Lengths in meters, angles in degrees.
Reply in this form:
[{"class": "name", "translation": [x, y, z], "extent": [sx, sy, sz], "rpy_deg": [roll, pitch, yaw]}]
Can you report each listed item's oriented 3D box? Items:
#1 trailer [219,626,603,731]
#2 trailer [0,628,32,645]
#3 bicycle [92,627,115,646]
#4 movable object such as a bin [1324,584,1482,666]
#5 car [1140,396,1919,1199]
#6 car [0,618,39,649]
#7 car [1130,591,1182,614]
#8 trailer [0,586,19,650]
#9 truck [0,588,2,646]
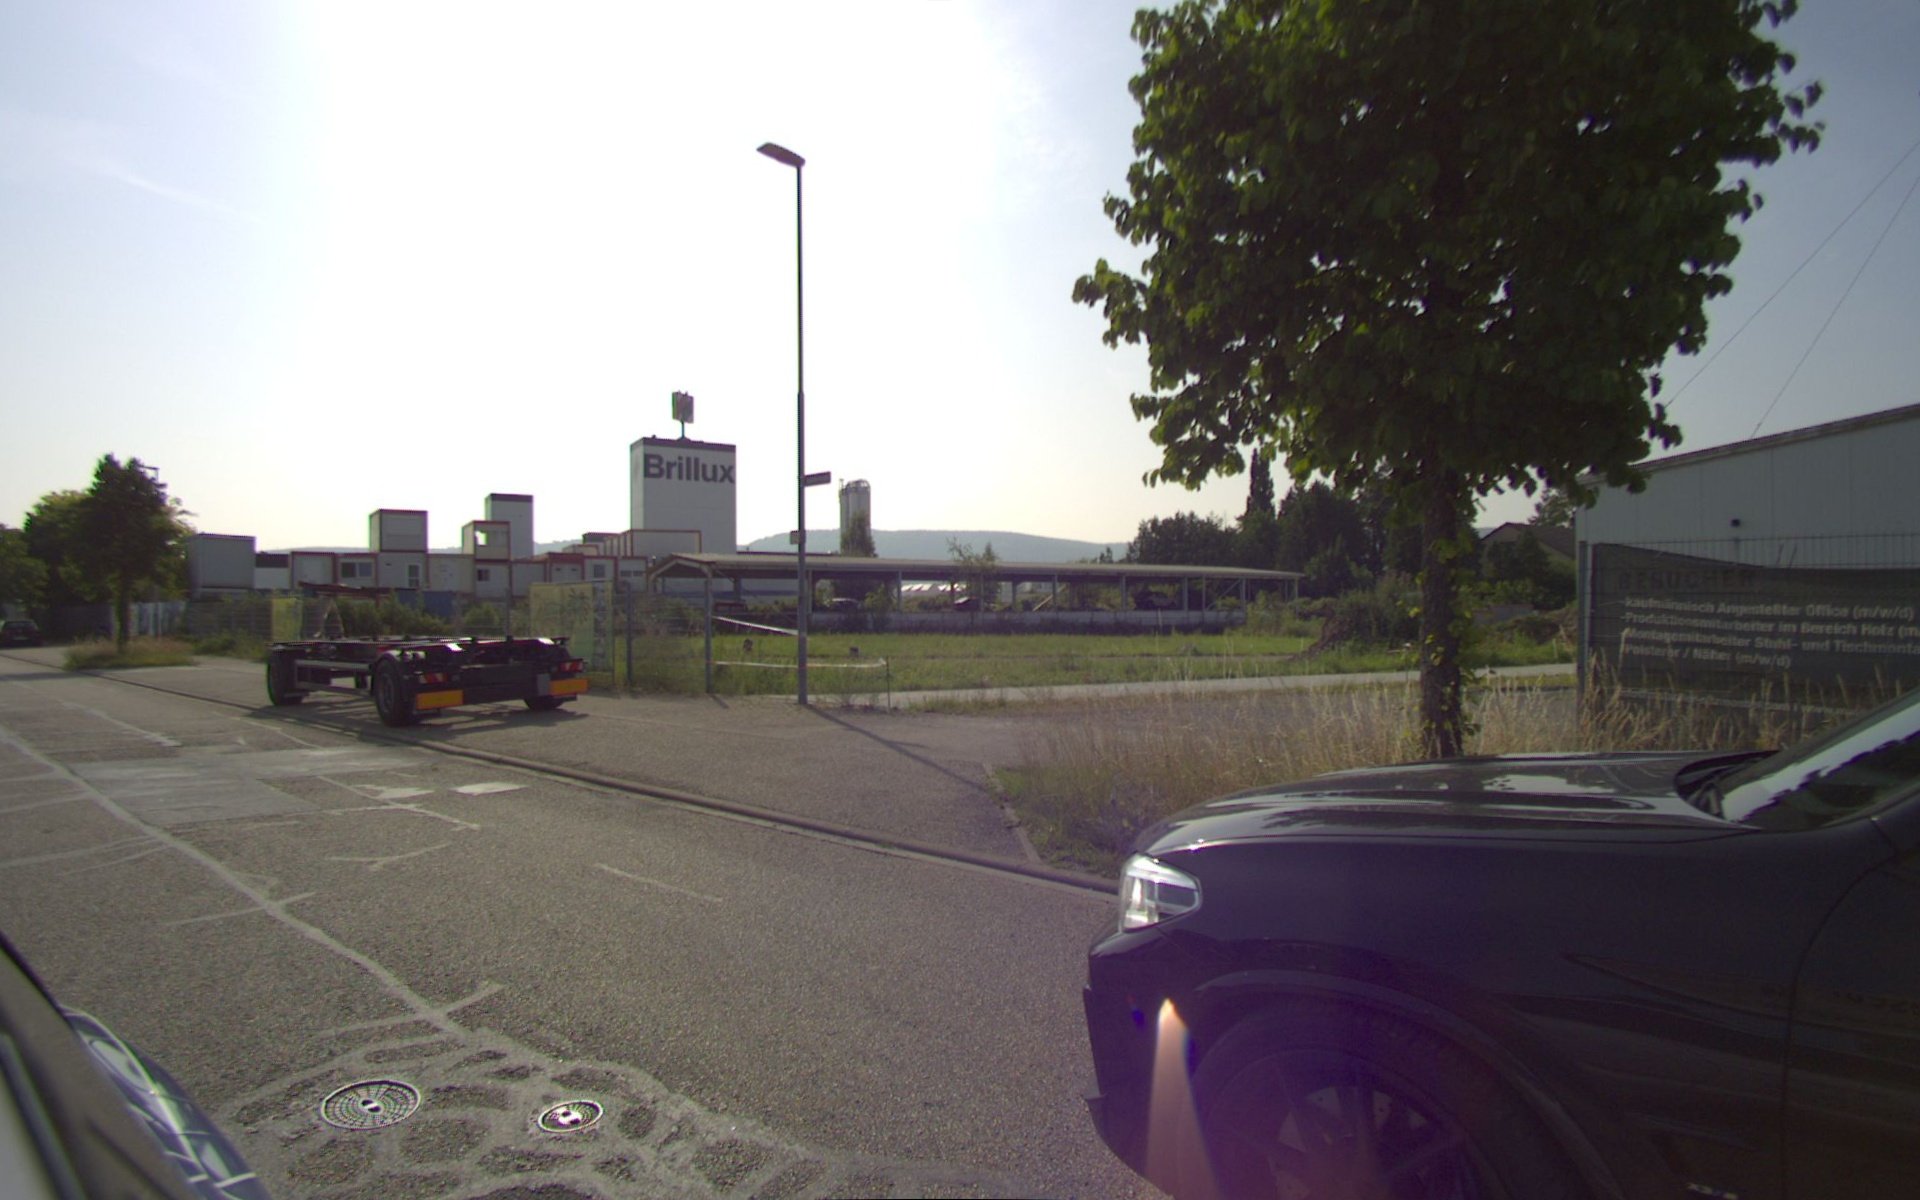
[{"class": "trailer", "translation": [-9.507, 1.093, 16.782], "extent": [9.359, 1.193, 2.555], "rpy_deg": [-1, 1, 42]}, {"class": "trailer", "translation": [-56.849, 2.126, 59.574], "extent": [6.240, 0.993, 2.621], "rpy_deg": [-1, -2, 41]}, {"class": "bicycle", "translation": [-45.546, 1.933, 53.792], "extent": [2.451, 0.980, 0.556], "rpy_deg": [-1, -1, 41]}, {"class": "movable object such as a bin", "translation": [14.056, 0.786, 32.172], "extent": [4.231, 2.475, 2.260], "rpy_deg": [0, -1, -23]}, {"class": "car", "translation": [2.554, 0.609, 1.383], "extent": [4.224, 1.728, 1.837], "rpy_deg": [-1, -3, 41]}, {"class": "car", "translation": [-48.038, 1.679, 51.314], "extent": [4.093, 1.481, 1.669], "rpy_deg": [-1, -1, 43]}, {"class": "car", "translation": [15.889, 0.195, 82.012], "extent": [3.835, 1.821, 1.752], "rpy_deg": [0, -1, -29]}, {"class": "trailer", "translation": [-62.831, 1.210, 64.975], "extent": [9.763, 3.913, 2.671], "rpy_deg": [-1, 0, 42]}, {"class": "truck", "translation": [-69.888, 1.269, 71.340], "extent": [9.634, 3.913, 2.684], "rpy_deg": [-1, 0, 42]}]
